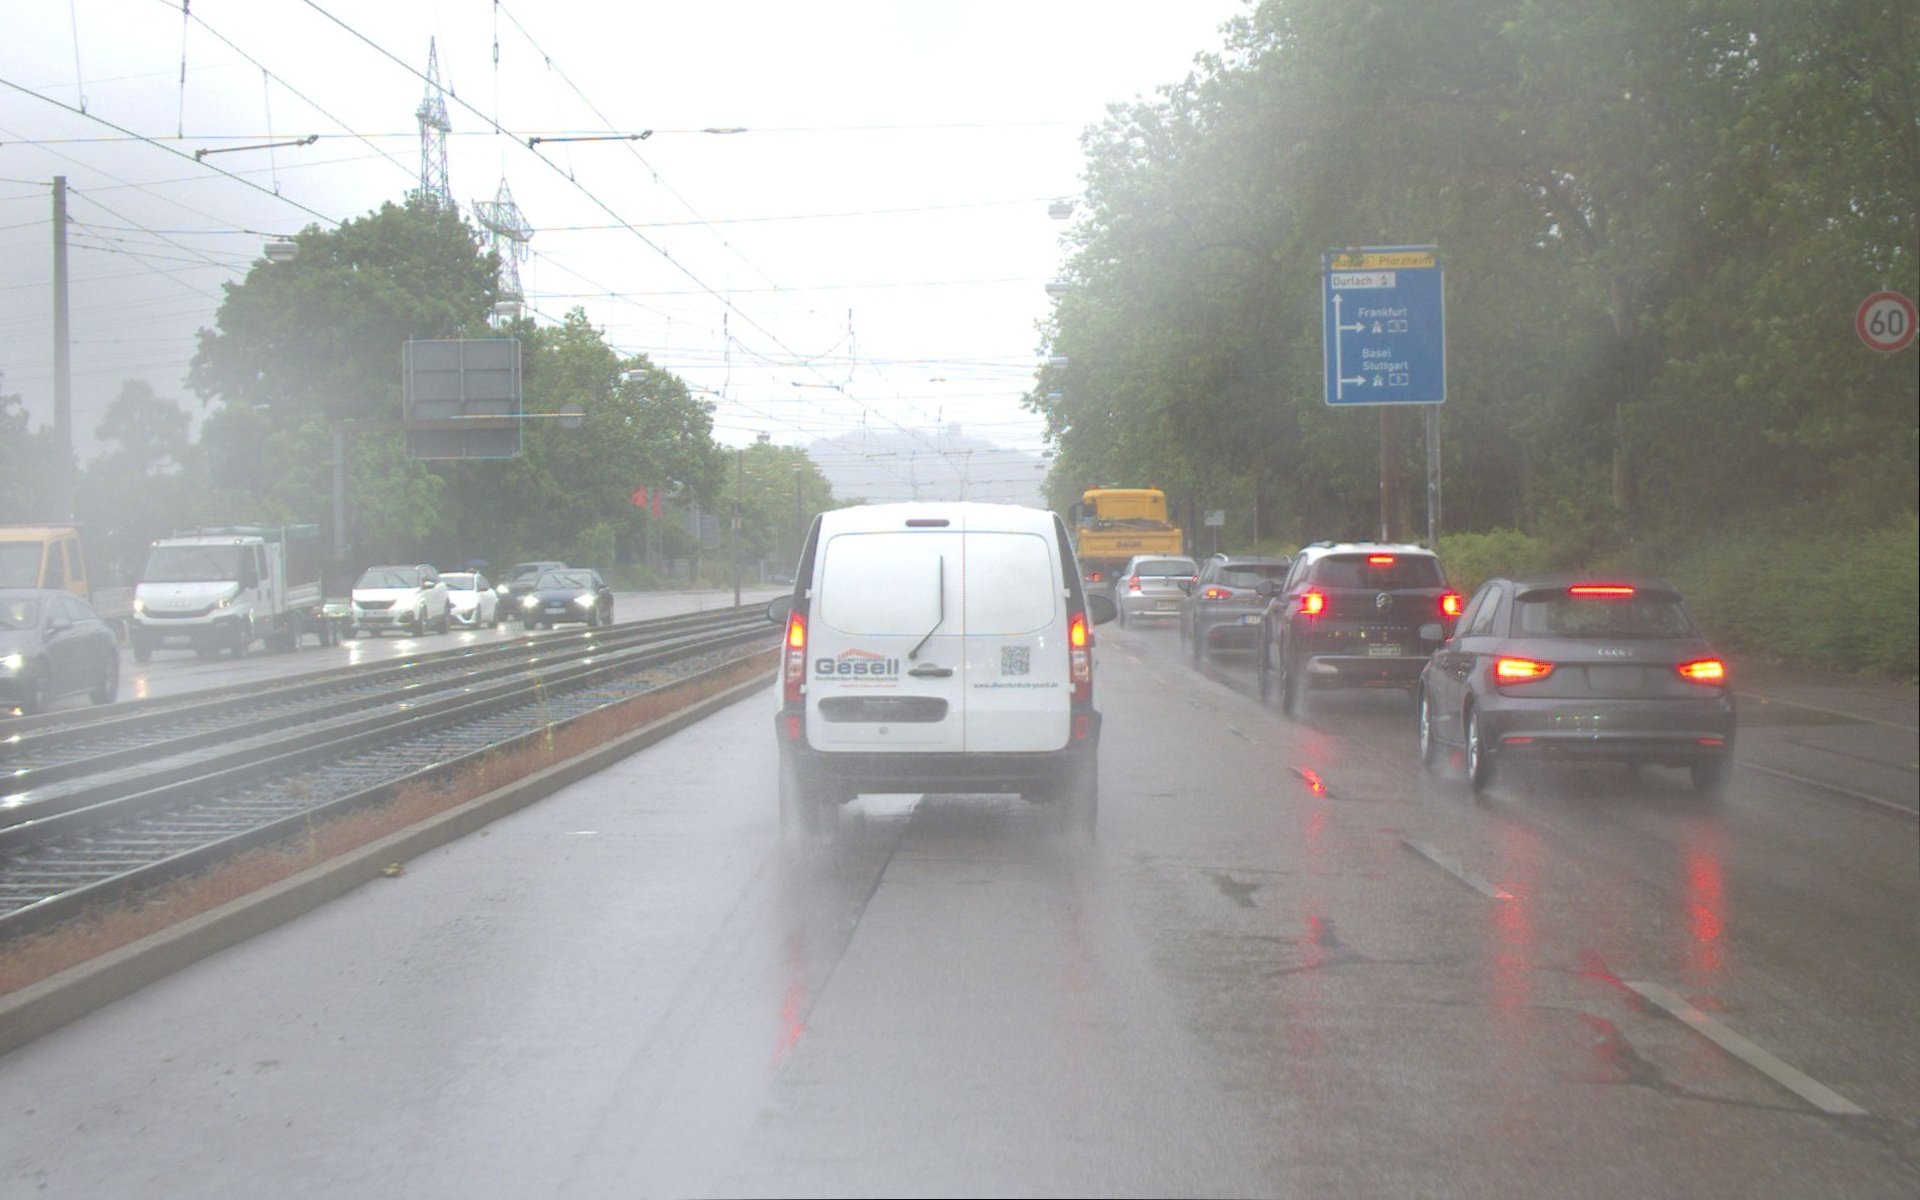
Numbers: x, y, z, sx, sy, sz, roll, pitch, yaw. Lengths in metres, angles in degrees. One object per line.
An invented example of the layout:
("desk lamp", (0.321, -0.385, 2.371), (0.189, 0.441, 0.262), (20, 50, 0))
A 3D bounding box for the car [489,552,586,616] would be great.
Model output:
("car", (-12.155, -0.482, 99.074), (1.993, 1.715, 4.882), (-2, 1, 2))

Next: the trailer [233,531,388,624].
("trailer", (-13.057, -0.465, 69.353), (2.119, 1.786, 3.836), (1, 1, 4))

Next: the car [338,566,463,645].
("car", (-12.692, 0.092, 78.239), (1.771, 1.677, 4.688), (1, 1, 4))

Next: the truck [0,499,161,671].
("truck", (-14.239, -0.273, 52.352), (2.227, 2.453, 6.066), (1, 1, 5))

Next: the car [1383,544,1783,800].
("car", (4.107, 0.415, 23.299), (1.967, 1.523, 3.991), (0, 2, 0))

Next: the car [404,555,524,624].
("car", (-12.430, -0.285, 86.420), (1.994, 1.578, 4.766), (-2, 1, 4))

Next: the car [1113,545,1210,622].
("car", (3.914, -0.350, 67.332), (1.818, 1.409, 3.778), (0, 2, 2))

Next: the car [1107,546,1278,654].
("car", (3.226, -0.034, 48.450), (1.818, 1.409, 3.779), (0, 2, -5))

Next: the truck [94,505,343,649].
("truck", (-13.556, -0.448, 63.405), (2.435, 2.449, 7.218), (1, 1, 5))

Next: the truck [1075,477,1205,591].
("truck", (4.497, -1.676, 87.008), (3.113, 2.764, 6.329), (0, 1, 1))

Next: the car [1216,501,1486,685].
("car", (3.833, -0.132, 34.518), (1.899, 1.711, 4.726), (0, 2, -3))

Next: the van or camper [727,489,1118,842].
("van or camper", (-0.228, 0.277, 19.693), (1.993, 1.778, 4.001), (1, 2, -1))

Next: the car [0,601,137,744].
("car", (-10.999, 0.803, 39.387), (1.858, 1.489, 4.690), (-2, 0, 2))

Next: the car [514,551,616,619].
("car", (-9.645, -0.391, 84.238), (1.818, 1.617, 4.536), (-1, 1, 2))
